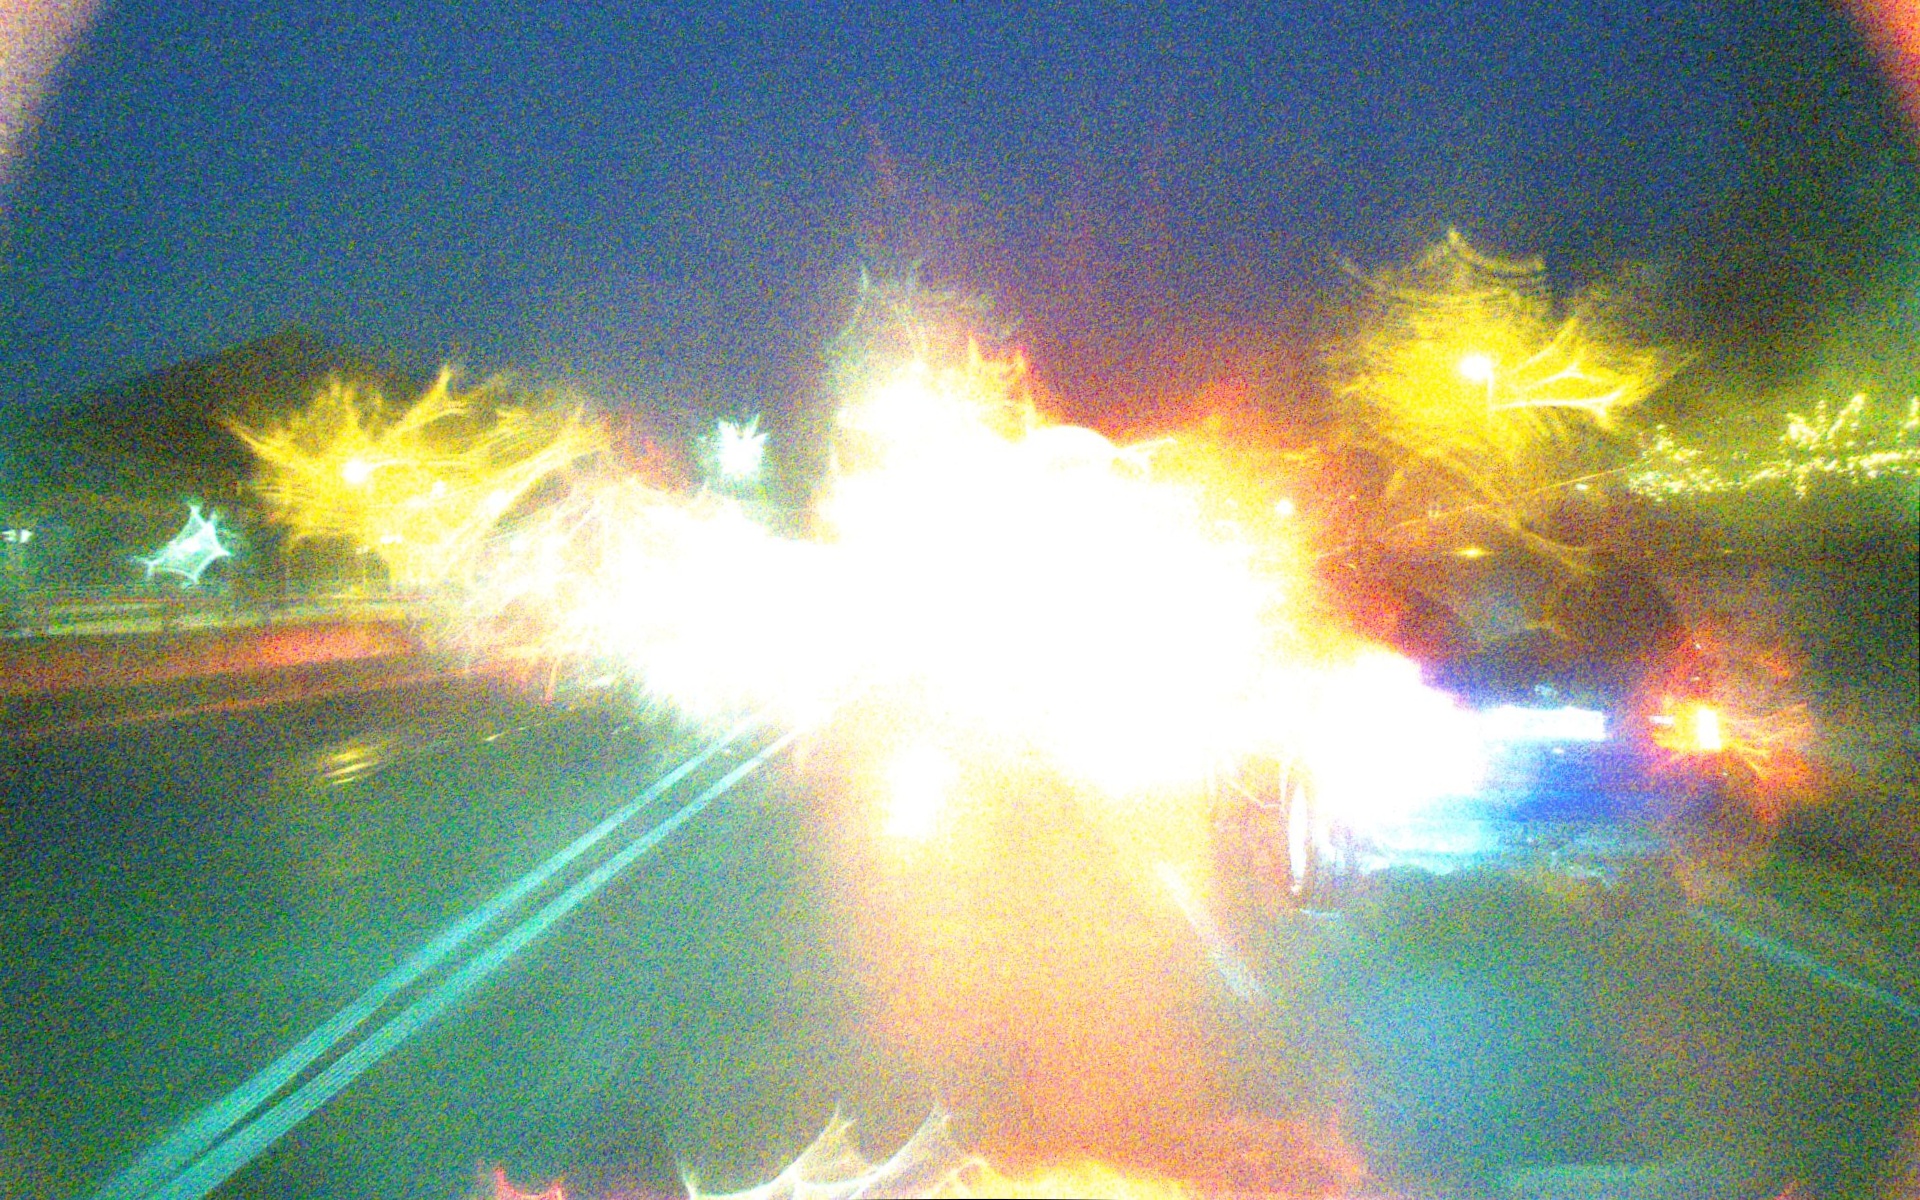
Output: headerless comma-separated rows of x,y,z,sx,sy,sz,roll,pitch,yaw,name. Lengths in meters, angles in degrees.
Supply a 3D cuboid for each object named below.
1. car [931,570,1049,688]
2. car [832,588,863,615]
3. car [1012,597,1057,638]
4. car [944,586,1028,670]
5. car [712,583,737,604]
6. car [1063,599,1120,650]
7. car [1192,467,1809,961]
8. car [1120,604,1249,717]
0.495,0.430,25.948,1.659,1.658,3.853,2,0,2,car
-6.670,0.064,97.687,1.676,1.525,3.725,0,1,-7,car
2.855,0.662,64.003,1.629,1.475,4.050,1,0,1,car
0.588,0.555,34.944,1.673,1.666,3.731,0,1,2,car
-18.042,-0.508,126.830,1.675,1.525,3.726,0,1,-6,car
3.992,0.730,50.587,1.628,1.475,4.051,1,0,4,car
2.543,0.449,8.974,1.903,2.006,4.218,1,1,0,car
3.346,0.852,25.293,1.731,1.475,4.221,1,1,5,car
